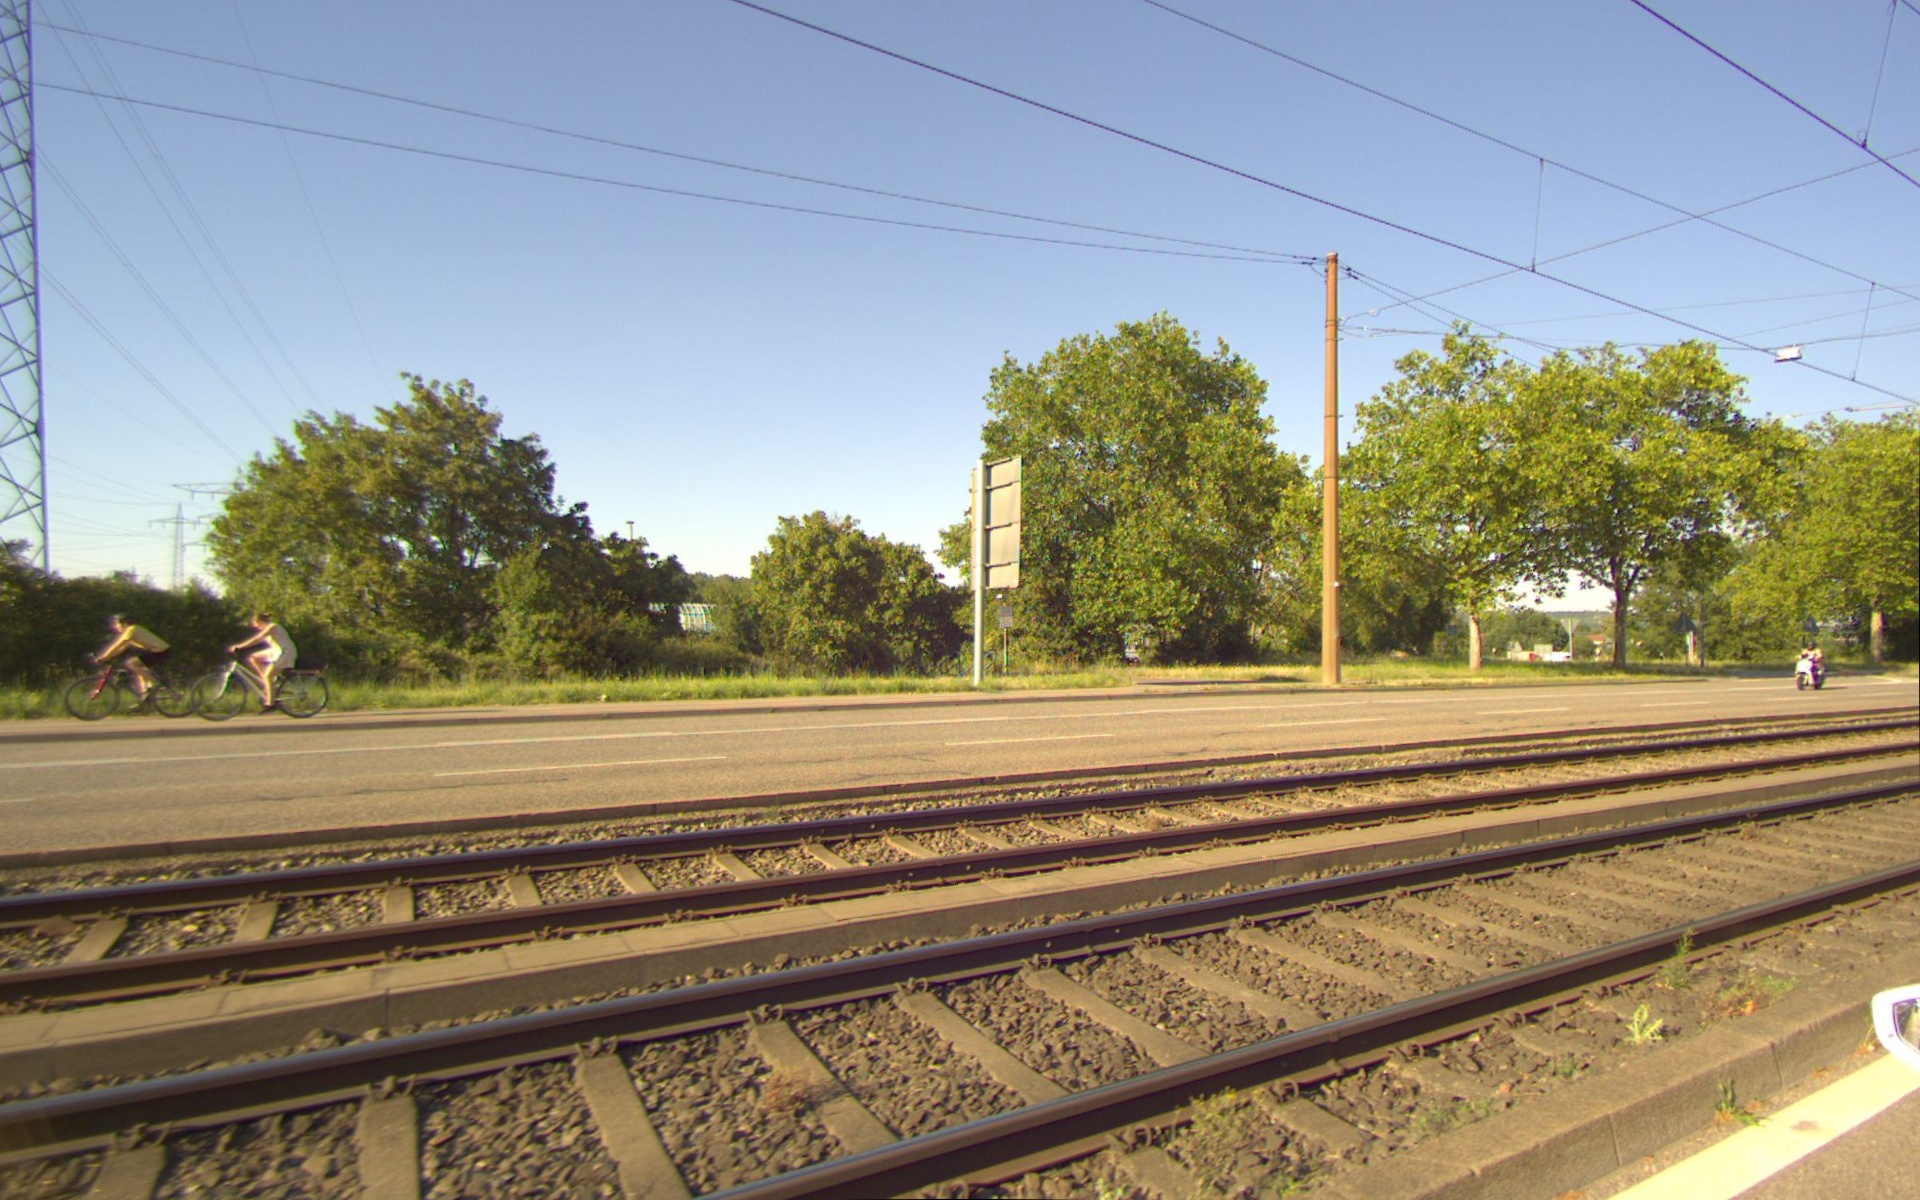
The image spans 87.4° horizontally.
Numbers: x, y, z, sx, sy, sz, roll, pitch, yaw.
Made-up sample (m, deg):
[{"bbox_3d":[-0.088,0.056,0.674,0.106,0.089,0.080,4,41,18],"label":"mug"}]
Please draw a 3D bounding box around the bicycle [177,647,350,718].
[{"bbox_3d":[-10.913,1.280,15.834,2.160,1.035,0.587,2,-2,-31],"label":"bicycle"}]

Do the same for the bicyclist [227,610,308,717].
[{"bbox_3d":[-10.901,0.982,15.838,0.956,1.632,0.587,2,-2,-31],"label":"bicyclist"}]

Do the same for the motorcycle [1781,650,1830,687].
[{"bbox_3d":[26.389,2.139,31.349,1.880,1.105,0.533,2,0,-30],"label":"motorcycle"}]

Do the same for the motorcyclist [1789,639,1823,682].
[{"bbox_3d":[26.411,1.888,31.357,0.795,1.287,0.533,2,0,-30],"label":"motorcyclist"}]

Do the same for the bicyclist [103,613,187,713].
[{"bbox_3d":[-12.886,0.986,15.903,0.896,1.548,0.587,2,-2,-31],"label":"bicyclist"}]

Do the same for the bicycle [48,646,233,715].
[{"bbox_3d":[-12.899,1.256,15.902,2.160,1.035,0.587,2,-2,-31],"label":"bicycle"}]
